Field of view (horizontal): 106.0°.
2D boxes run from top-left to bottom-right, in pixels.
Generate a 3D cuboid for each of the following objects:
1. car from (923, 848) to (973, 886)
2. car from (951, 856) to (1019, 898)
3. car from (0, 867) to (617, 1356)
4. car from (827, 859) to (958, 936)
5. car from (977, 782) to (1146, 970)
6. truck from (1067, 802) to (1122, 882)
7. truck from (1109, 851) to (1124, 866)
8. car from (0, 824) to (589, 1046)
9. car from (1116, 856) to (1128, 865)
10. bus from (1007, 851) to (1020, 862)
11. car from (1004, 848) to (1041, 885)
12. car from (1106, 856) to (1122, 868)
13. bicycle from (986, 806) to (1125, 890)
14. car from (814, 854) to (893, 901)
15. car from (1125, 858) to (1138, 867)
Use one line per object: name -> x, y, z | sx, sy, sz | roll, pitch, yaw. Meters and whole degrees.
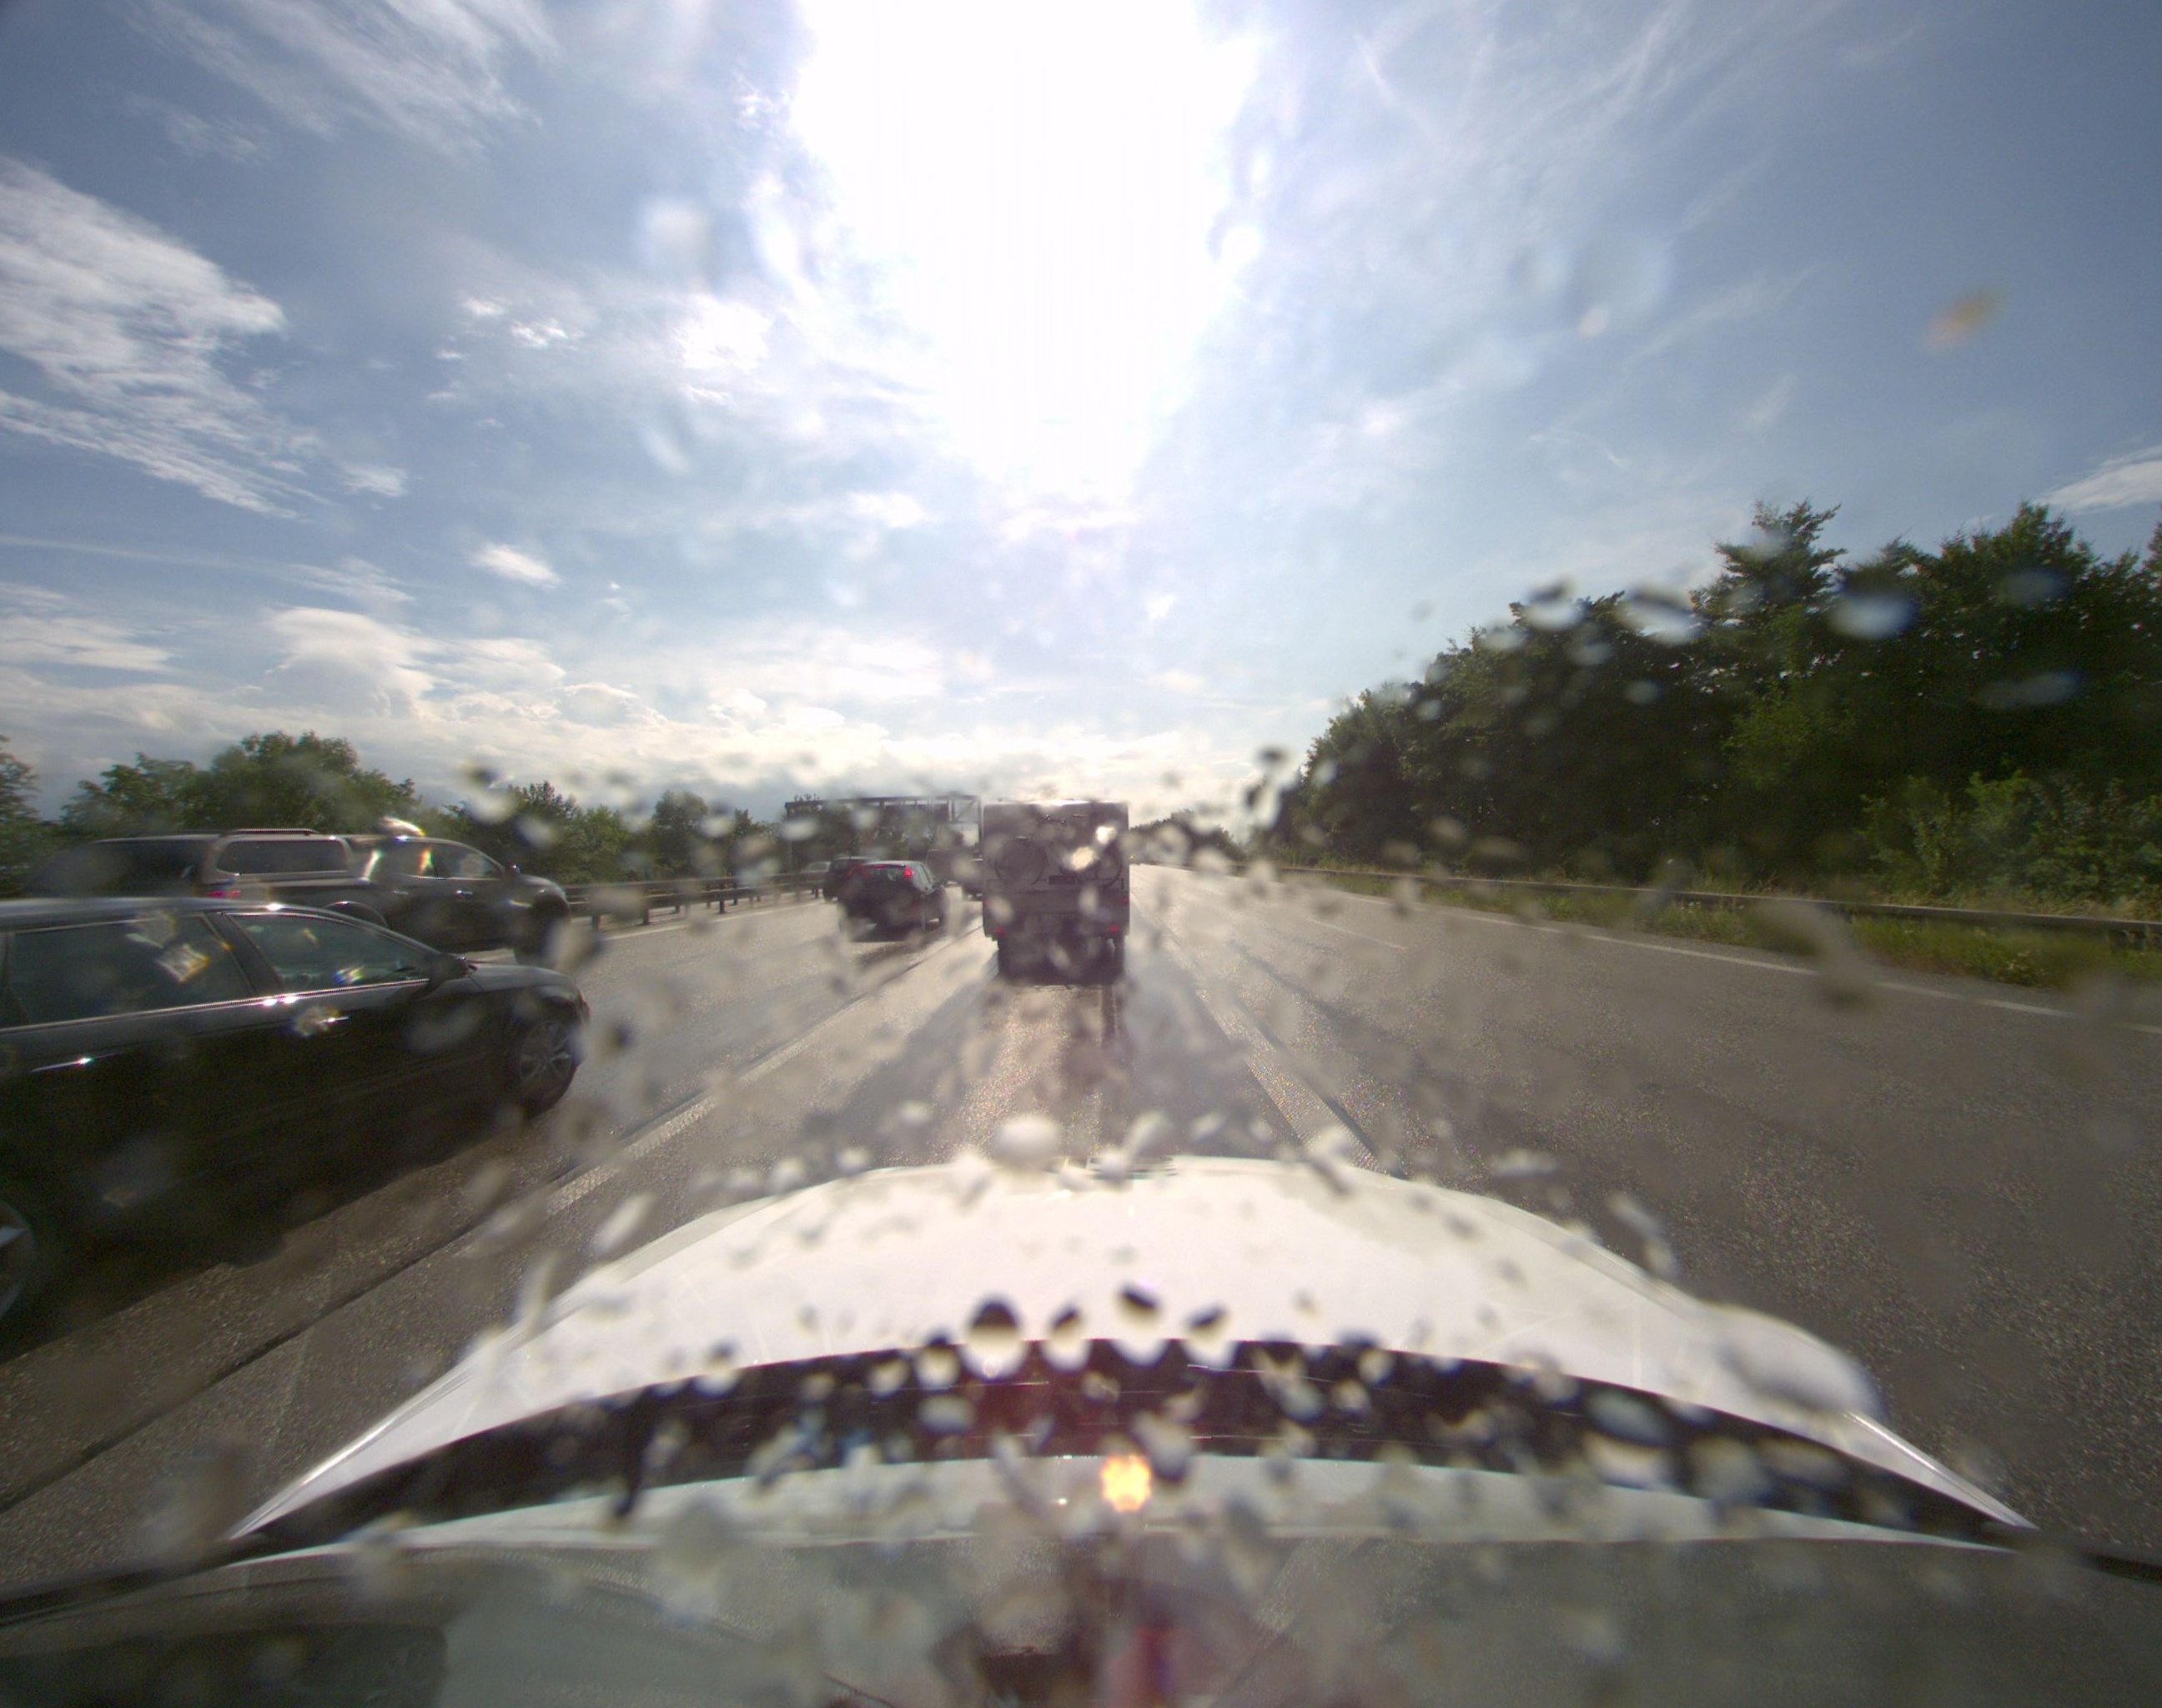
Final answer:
car -> -7.247, 0.683, 44.868 | 1.841, 1.934, 5.016 | -1, 0, 1
car -> -3.580, 0.826, 31.024 | 1.980, 1.458, 3.828 | -1, 0, 2
car -> -4.128, 0.818, 3.588 | 1.744, 1.433, 4.055 | -1, 0, 1
car -> -3.929, 0.851, 17.669 | 1.752, 1.443, 4.002 | -1, 0, 2
car -> -0.210, 0.329, 13.643 | 2.401, 2.674, 4.002 | 0, -1, 2
truck -> 0.845, -0.677, 53.101 | 3.136, 4.626, 10.735 | -1, 0, 0
truck -> 5.706, 0.695, 131.183 | 2.406, 2.443, 6.055 | -1, 0, 2
car -> -8.417, 0.686, 9.563 | 1.799, 1.844, 5.420 | -1, 0, 2
car -> 7.627, 1.227, 153.189 | 1.872, 1.629, 3.996 | 0, 0, -3
bus -> -20.937, 0.916, 253.780 | 2.930, 3.286, 12.207 | -1, 0, -1
car -> -3.321, 0.721, 46.651 | 1.871, 2.014, 3.998 | 0, 0, -1
car -> 4.535, 1.108, 111.965 | 1.831, 1.558, 3.996 | 0, 0, -2
bicycle -> -0.345, -0.077, 11.453 | 1.926, 1.141, 0.384 | 0, -1, 2
car -> -8.306, 0.818, 30.070 | 1.777, 1.578, 3.915 | -1, 0, 0
car -> 8.384, 1.443, 135.344 | 1.869, 1.494, 4.001 | 0, 0, 1
